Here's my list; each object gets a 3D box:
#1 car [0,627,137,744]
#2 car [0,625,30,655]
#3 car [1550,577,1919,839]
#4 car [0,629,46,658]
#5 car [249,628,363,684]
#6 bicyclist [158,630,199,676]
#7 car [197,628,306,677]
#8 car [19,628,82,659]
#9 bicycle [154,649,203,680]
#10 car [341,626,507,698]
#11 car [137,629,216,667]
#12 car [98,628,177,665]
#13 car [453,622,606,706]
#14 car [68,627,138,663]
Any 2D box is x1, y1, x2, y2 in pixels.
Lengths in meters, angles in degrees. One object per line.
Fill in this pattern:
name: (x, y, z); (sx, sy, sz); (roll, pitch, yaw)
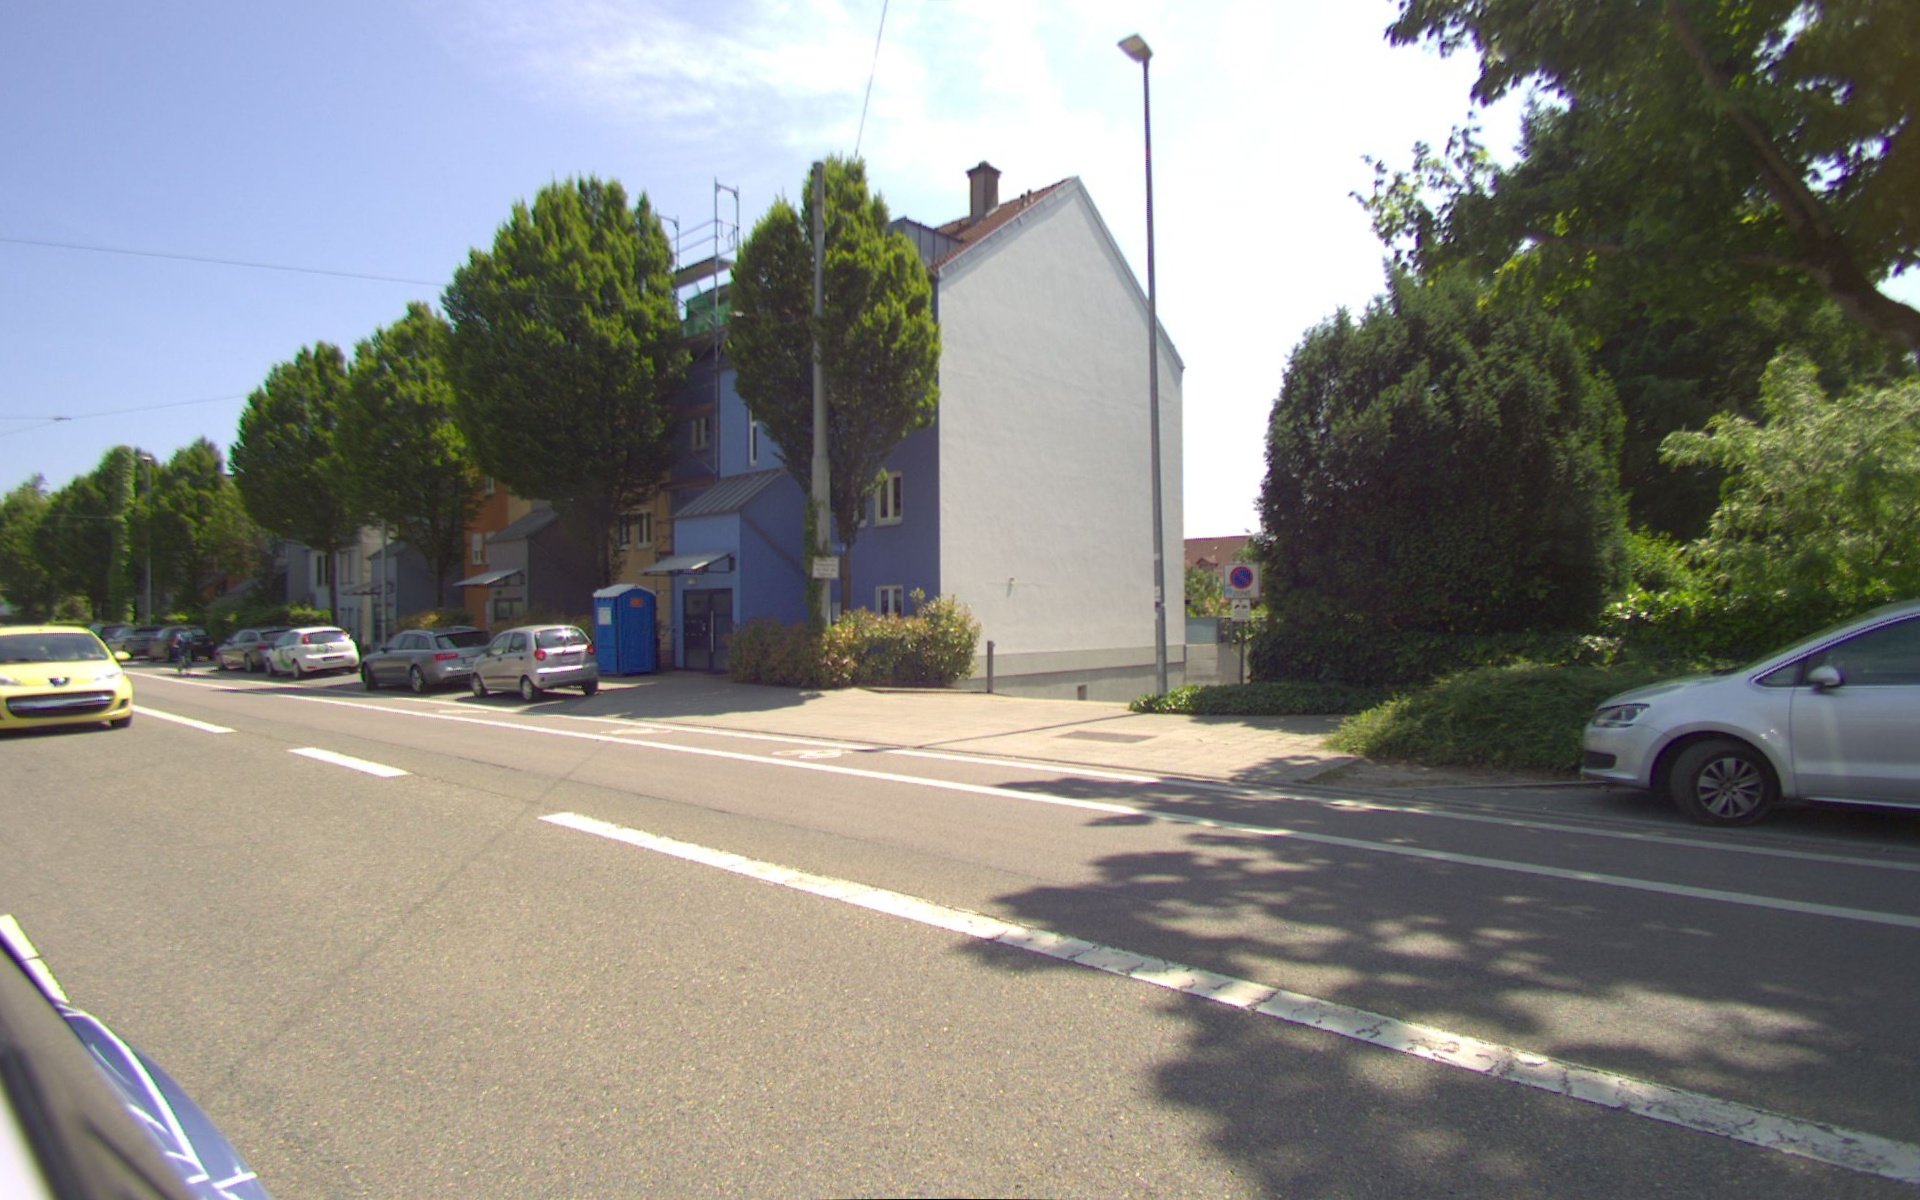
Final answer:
car: (-13.067, 1.129, 14.258); (3.513, 1.421, 1.673); (-2, 0, 41)
car: (-59.620, 2.492, 62.788); (4.548, 1.807, 1.976); (-1, -1, 35)
car: (6.997, 0.679, 6.981); (4.778, 1.677, 1.853); (-2, -1, 41)
car: (-55.461, 2.556, 59.640); (3.673, 1.606, 1.586); (-2, 0, 35)
car: (-20.484, 1.709, 31.636); (4.417, 1.453, 1.729); (-2, 3, 41)
bicyclist: (-25.176, 1.696, 32.611); (1.123, 1.442, 0.728); (-1, -5, 38)
car: (-24.605, 1.787, 35.078); (4.744, 1.440, 1.688); (-2, 3, 38)
car: (-50.608, 2.406, 56.268); (4.490, 1.594, 1.823); (-2, 0, 38)
bicycle: (-25.252, 2.067, 32.687); (2.240, 0.958, 0.695); (-3, -4, 39)
car: (-13.271, 1.485, 24.905); (5.129, 1.461, 1.769); (-3, 2, 40)
car: (-32.921, 1.976, 42.479); (4.254, 1.443, 1.732); (-2, 1, 40)
car: (-37.141, 2.092, 45.671); (4.752, 1.507, 1.807); (-2, 0, 39)
car: (-9.173, 1.305, 21.476); (3.447, 1.506, 1.577); (-2, 3, 41)
car: (-41.719, 2.188, 49.264); (4.142, 1.601, 1.750); (-2, 0, 38)
